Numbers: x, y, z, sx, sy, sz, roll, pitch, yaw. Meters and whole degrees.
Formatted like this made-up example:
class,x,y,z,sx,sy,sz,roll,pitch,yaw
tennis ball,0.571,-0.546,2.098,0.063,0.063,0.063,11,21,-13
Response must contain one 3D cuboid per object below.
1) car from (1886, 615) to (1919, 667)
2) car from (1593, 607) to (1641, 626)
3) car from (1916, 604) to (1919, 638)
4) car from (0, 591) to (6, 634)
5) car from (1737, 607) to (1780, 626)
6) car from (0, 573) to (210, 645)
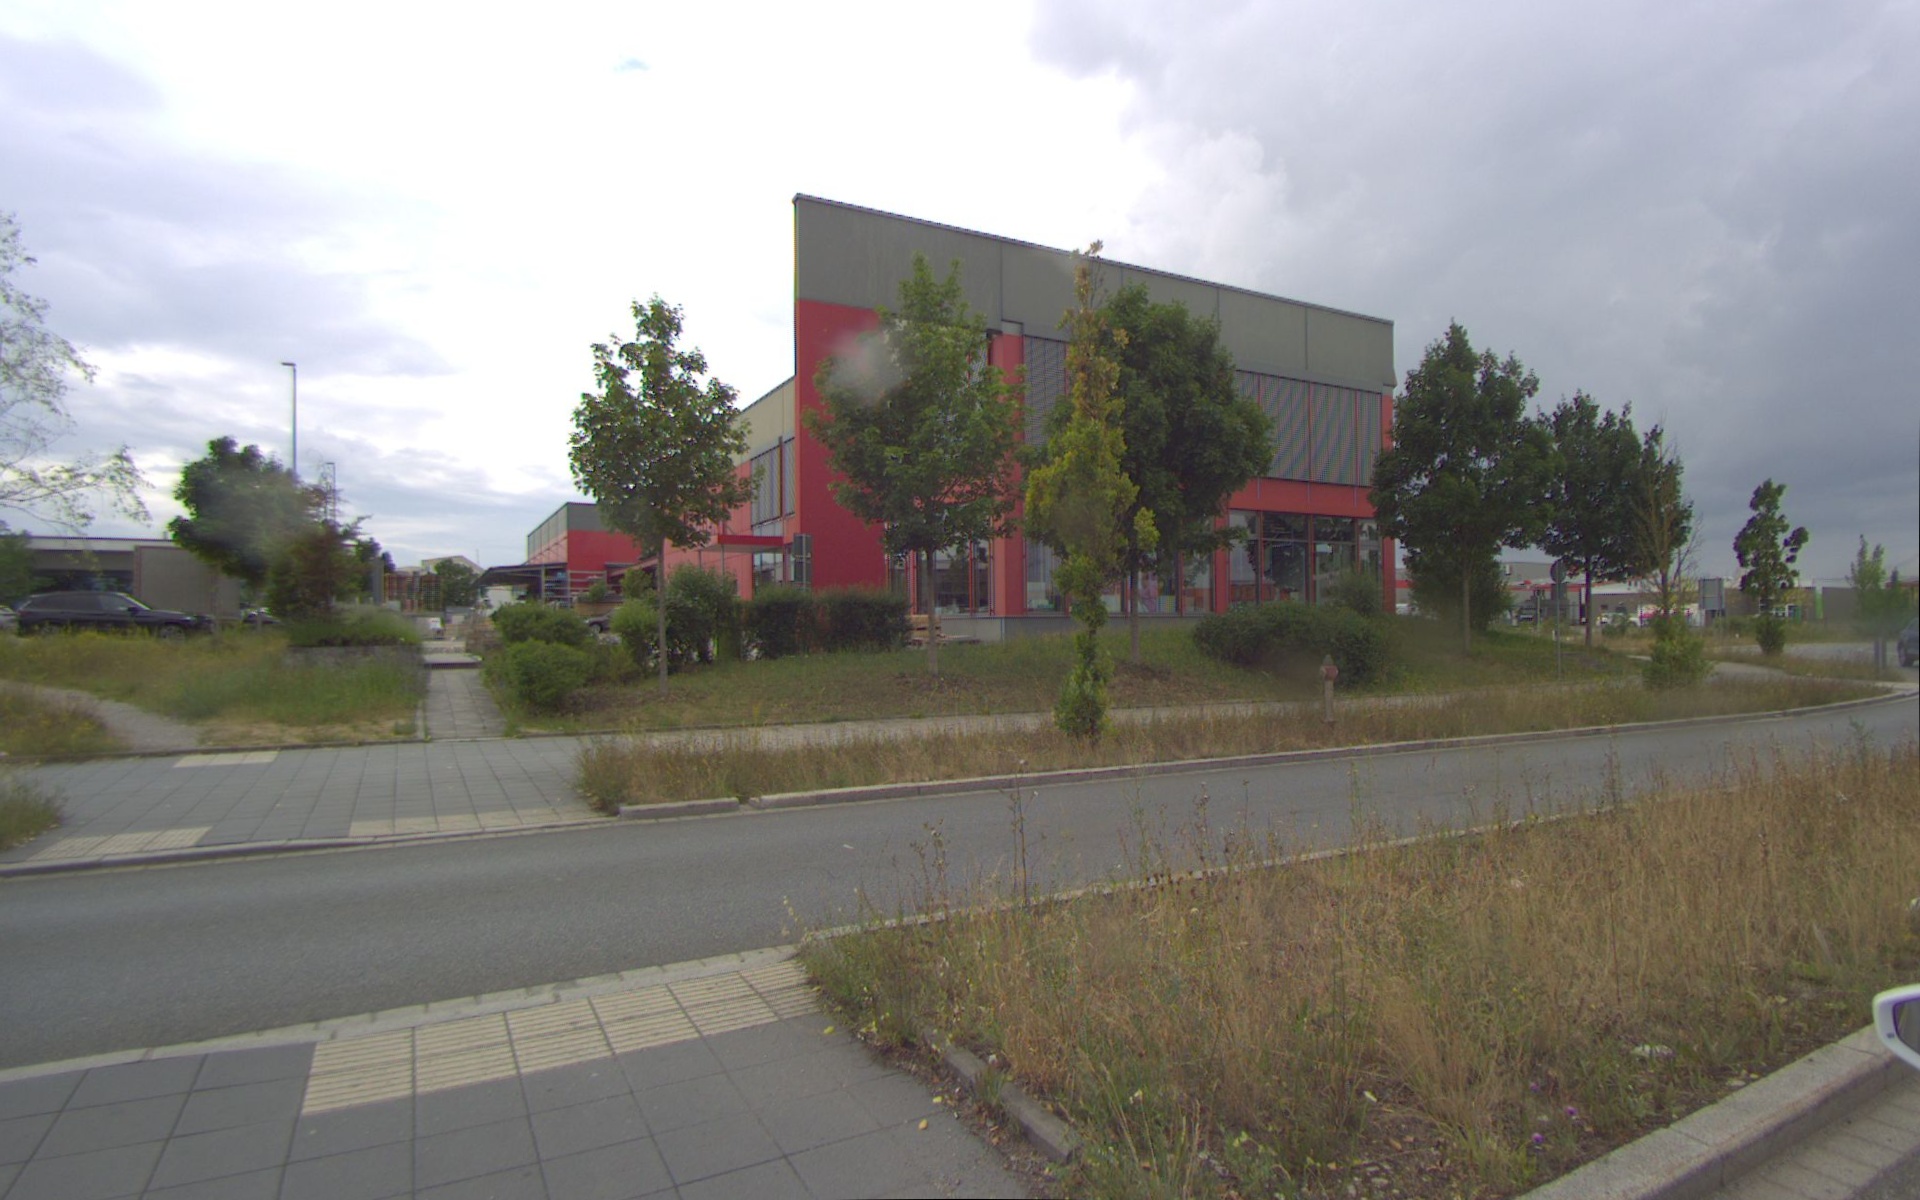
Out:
class,x,y,z,sx,sy,sz,roll,pitch,yaw
car,29.542,1.206,29.848,1.813,1.548,4.224,-2,-3,26
car,71.796,1.798,109.745,1.977,2.040,3.967,1,-1,-31
car,50.544,1.030,49.830,4.129,1.713,2.034,0,-1,5
car,-47.021,0.567,46.251,3.932,2.040,1.995,0,-1,-14
car,77.617,1.609,97.602,3.952,1.884,1.985,1,-1,-30
car,-26.150,0.315,30.963,4.583,2.060,1.985,1,-2,-30
